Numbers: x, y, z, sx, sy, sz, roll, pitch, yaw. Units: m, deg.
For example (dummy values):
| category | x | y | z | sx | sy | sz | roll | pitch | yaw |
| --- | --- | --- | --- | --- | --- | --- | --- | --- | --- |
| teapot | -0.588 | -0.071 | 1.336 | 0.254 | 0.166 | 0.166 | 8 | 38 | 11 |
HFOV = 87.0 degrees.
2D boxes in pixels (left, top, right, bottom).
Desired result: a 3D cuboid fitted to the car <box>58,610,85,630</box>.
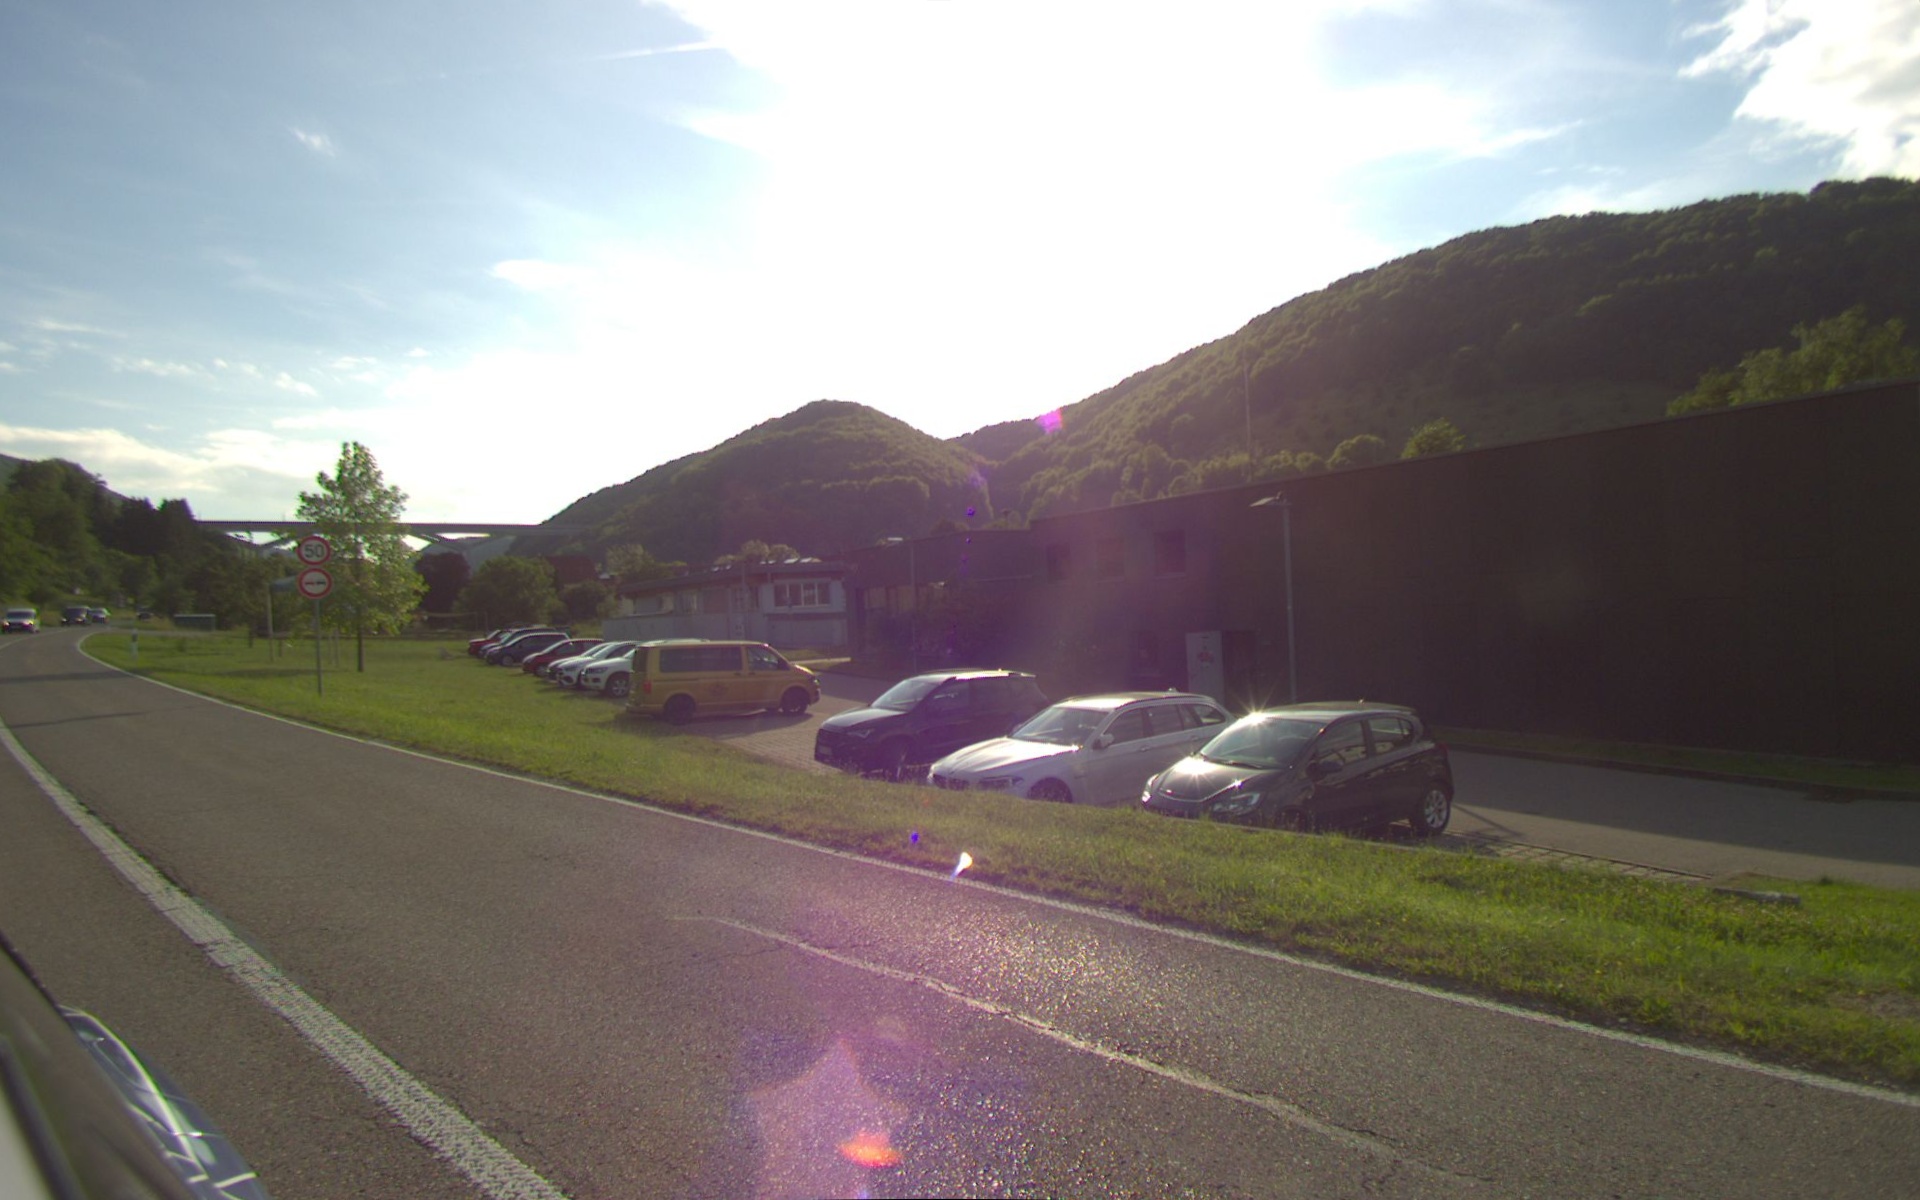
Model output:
| category | x | y | z | sx | sy | sz | roll | pitch | yaw |
| --- | --- | --- | --- | --- | --- | --- | --- | --- | --- |
| car | -85.862 | 1.909 | 97.830 | 1.653 | 1.659 | 3.353 | -2 | -3 | -37 |

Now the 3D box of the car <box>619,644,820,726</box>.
| category | x | y | z | sx | sy | sz | roll | pitch | yaw |
| --- | --- | --- | --- | --- | --- | --- | --- | --- | --- |
| car | -6.067 | 2.078 | 25.673 | 4.583 | 1.827 | 2.006 | 0 | -2 | -30 |

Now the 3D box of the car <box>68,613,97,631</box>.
| category | x | y | z | sx | sy | sz | roll | pitch | yaw |
| --- | --- | --- | --- | --- | --- | --- | --- | --- | --- |
| car | -94.326 | 2.372 | 108.817 | 1.967 | 1.730 | 4.009 | -1 | -1 | -36 |

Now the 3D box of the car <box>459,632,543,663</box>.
| category | x | y | z | sx | sy | sz | roll | pitch | yaw |
| --- | --- | --- | --- | --- | --- | --- | --- | --- | --- |
| car | -27.307 | 2.785 | 60.236 | 4.371 | 1.733 | 2.006 | 0 | -2 | -31 |

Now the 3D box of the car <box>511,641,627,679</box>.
| category | x | y | z | sx | sy | sz | roll | pitch | yaw |
| --- | --- | --- | --- | --- | --- | --- | --- | --- | --- |
| car | -16.605 | 2.509 | 43.004 | 4.370 | 1.463 | 2.006 | 0 | -2 | -30 |

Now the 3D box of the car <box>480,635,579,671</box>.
| category | x | y | z | sx | sy | sz | roll | pitch | yaw |
| --- | --- | --- | --- | --- | --- | --- | --- | --- | --- |
| car | -21.956 | 2.670 | 51.629 | 4.371 | 1.595 | 2.006 | -1 | -1 | -31 |

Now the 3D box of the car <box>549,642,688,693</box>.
| category | x | y | z | sx | sy | sz | roll | pitch | yaw |
| --- | --- | --- | --- | --- | --- | --- | --- | --- | --- |
| car | -12.101 | 2.342 | 35.887 | 4.370 | 1.599 | 2.006 | 0 | -2 | -30 |

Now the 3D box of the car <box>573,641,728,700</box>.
| category | x | y | z | sx | sy | sz | roll | pitch | yaw |
| --- | --- | --- | --- | --- | --- | --- | --- | --- | --- |
| car | -10.078 | 2.247 | 33.016 | 4.477 | 1.714 | 2.006 | 0 | -2 | -30 |

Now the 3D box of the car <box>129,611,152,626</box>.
| category | x | y | z | sx | sy | sz | roll | pitch | yaw |
| --- | --- | --- | --- | --- | --- | --- | --- | --- | --- |
| car | -109.107 | 2.480 | 134.777 | 1.880 | 1.918 | 4.012 | 0 | 0 | -32 |

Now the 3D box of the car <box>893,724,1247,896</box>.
| category | x | y | z | sx | sy | sz | roll | pitch | yaw |
| --- | --- | --- | --- | --- | --- | --- | --- | --- | --- |
| car | 1.559 | 2.638 | 13.578 | 4.577 | 1.508 | 1.918 | 1 | -2 | -34 |

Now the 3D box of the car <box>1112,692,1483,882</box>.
| category | x | y | z | sx | sy | sz | roll | pitch | yaw |
| --- | --- | --- | --- | --- | --- | --- | --- | --- | --- |
| car | 3.844 | 1.940 | 11.415 | 3.932 | 1.546 | 1.839 | 0 | -2 | -31 |

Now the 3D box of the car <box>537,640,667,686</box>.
| category | x | y | z | sx | sy | sz | roll | pitch | yaw |
| --- | --- | --- | --- | --- | --- | --- | --- | --- | --- |
| car | -13.727 | 2.391 | 38.855 | 4.371 | 1.595 | 2.006 | 1 | -2 | -32 |

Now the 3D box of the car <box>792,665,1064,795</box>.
| category | x | y | z | sx | sy | sz | roll | pitch | yaw |
| --- | --- | --- | --- | --- | --- | --- | --- | --- | --- |
| car | -0.485 | 2.089 | 17.225 | 4.226 | 1.650 | 1.917 | -2 | -1 | -35 |

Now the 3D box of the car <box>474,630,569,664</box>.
| category | x | y | z | sx | sy | sz | roll | pitch | yaw |
| --- | --- | --- | --- | --- | --- | --- | --- | --- | --- |
| car | -24.201 | 2.548 | 55.901 | 4.595 | 1.776 | 2.006 | 0 | -2 | -31 |

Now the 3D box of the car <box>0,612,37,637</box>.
| category | x | y | z | sx | sy | sz | roll | pitch | yaw |
| --- | --- | --- | --- | --- | --- | --- | --- | --- | --- |
| car | -68.928 | 1.798 | 74.041 | 1.771 | 1.749 | 4.292 | 0 | -1 | -38 |
